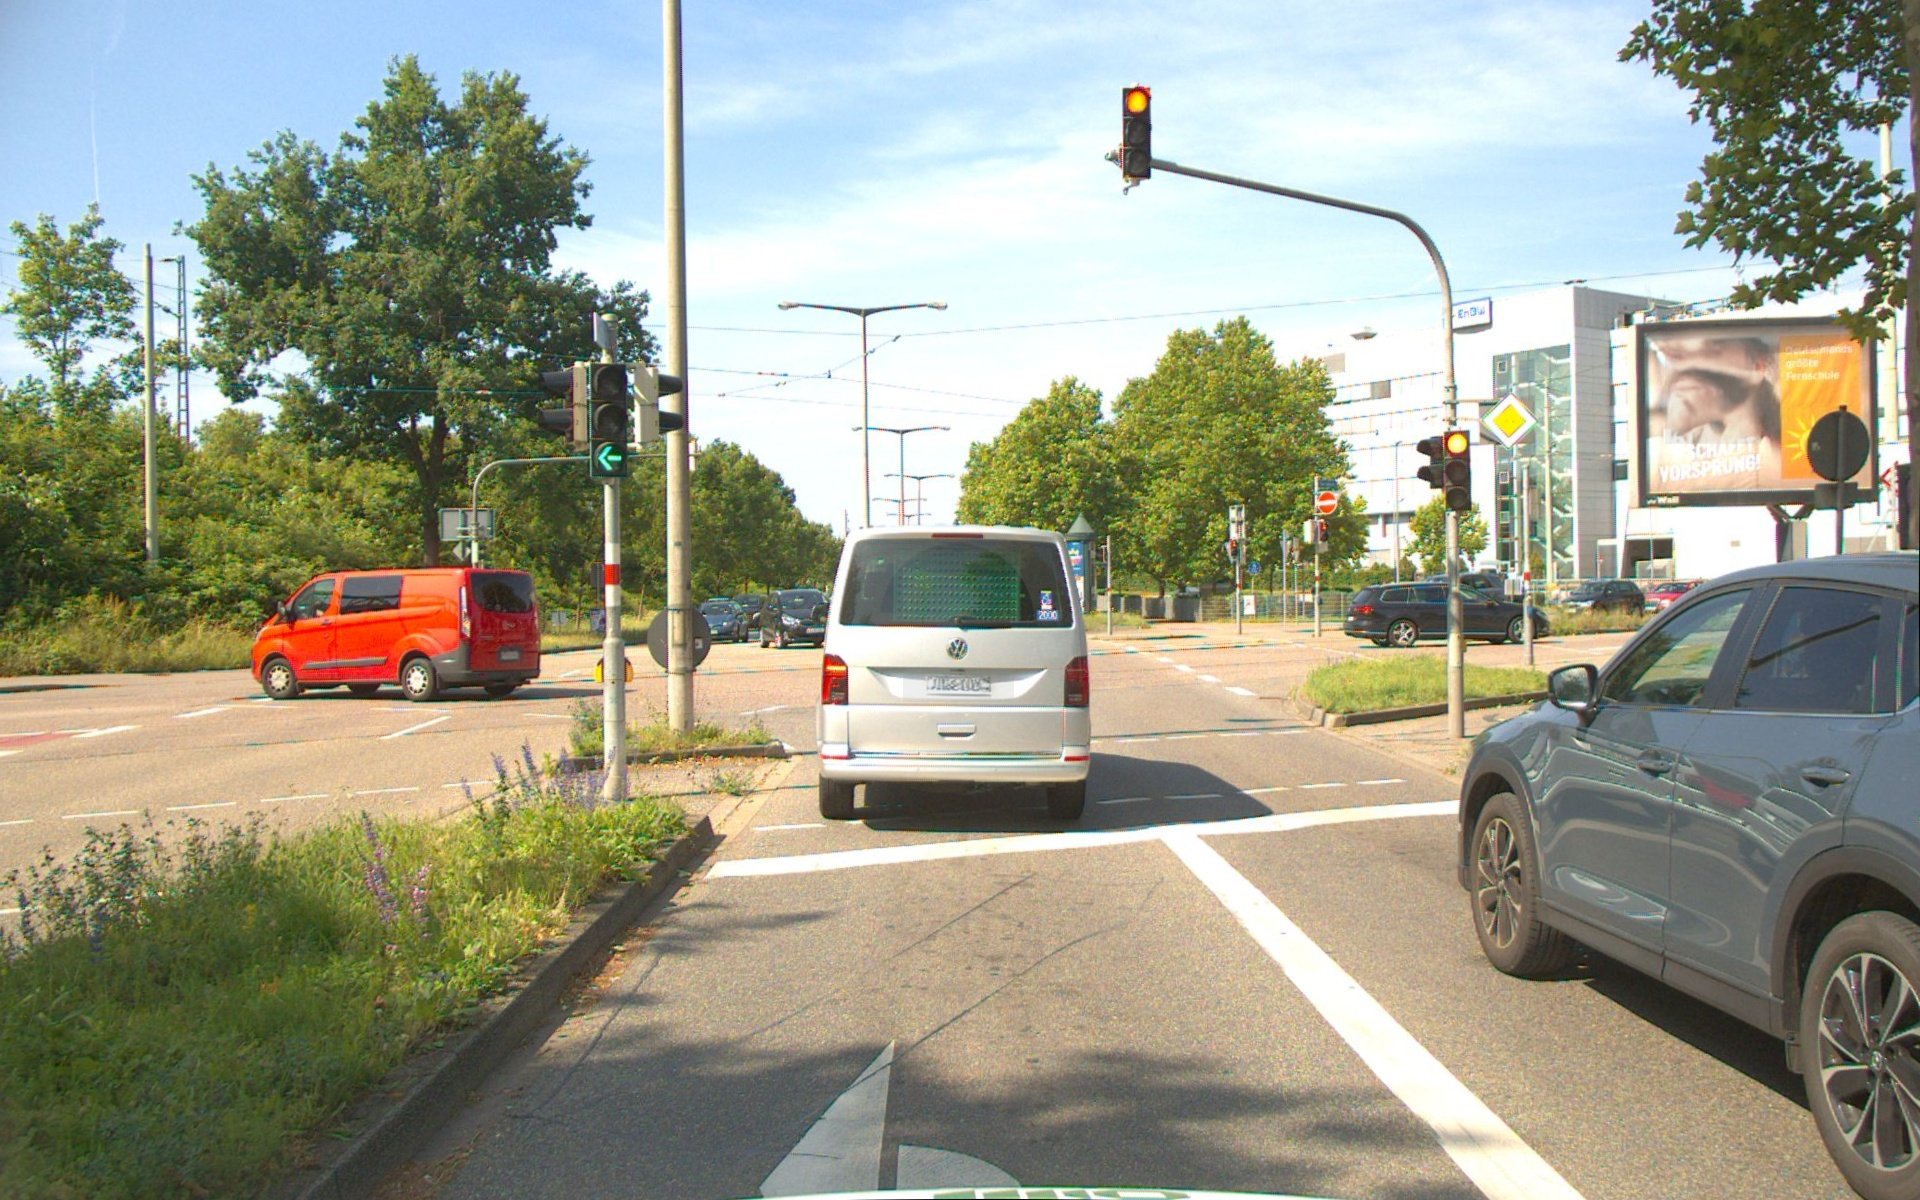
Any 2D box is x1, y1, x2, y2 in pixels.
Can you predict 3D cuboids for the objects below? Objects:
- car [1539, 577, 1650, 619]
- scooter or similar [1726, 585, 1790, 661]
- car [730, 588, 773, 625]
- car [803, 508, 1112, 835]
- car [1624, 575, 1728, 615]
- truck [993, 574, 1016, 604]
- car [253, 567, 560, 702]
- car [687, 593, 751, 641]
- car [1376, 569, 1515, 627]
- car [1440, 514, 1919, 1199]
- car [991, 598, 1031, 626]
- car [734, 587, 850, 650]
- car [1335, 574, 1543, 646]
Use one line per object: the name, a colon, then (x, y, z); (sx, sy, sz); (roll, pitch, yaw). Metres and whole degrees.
car: (23.962, -0.093, 62.415); (4.578, 1.469, 1.758); (-2, 0, -37)
scooter or similar: (12.490, 0.349, 25.914); (0.416, 1.146, 1.123); (-1, 0, -1)
car: (-10.730, 0.314, 85.269); (1.813, 1.846, 3.998); (-1, 0, -3)
car: (-0.038, 0.437, 12.750); (1.902, 2.006, 5.021); (-1, 0, -1)
car: (28.465, -0.215, 65.720); (4.578, 1.469, 1.758); (-2, 0, -37)
truck: (6.756, -1.641, 251.313); (3.124, 4.431, 13.151); (-1, 0, 3)
car: (-8.683, 0.533, 25.922); (4.456, 1.958, 1.973); (-1, 0, 26)
car: (-8.427, 0.559, 58.158); (1.813, 1.588, 3.998); (-1, 0, -3)
car: (15.402, -0.077, 52.368); (4.578, 1.718, 1.890); (-2, 0, -37)
car: (3.154, 0.643, 5.470); (1.730, 1.688, 4.495); (1, 0, -1)
car: (2.477, 0.573, 79.900); (1.608, 1.258, 3.255); (-1, 0, 7)
car: (-4.767, 0.501, 46.403); (1.787, 1.633, 4.339); (-1, 0, -27)
car: (11.044, 0.217, 38.361); (4.289, 1.537, 1.851); (-1, 0, 1)
